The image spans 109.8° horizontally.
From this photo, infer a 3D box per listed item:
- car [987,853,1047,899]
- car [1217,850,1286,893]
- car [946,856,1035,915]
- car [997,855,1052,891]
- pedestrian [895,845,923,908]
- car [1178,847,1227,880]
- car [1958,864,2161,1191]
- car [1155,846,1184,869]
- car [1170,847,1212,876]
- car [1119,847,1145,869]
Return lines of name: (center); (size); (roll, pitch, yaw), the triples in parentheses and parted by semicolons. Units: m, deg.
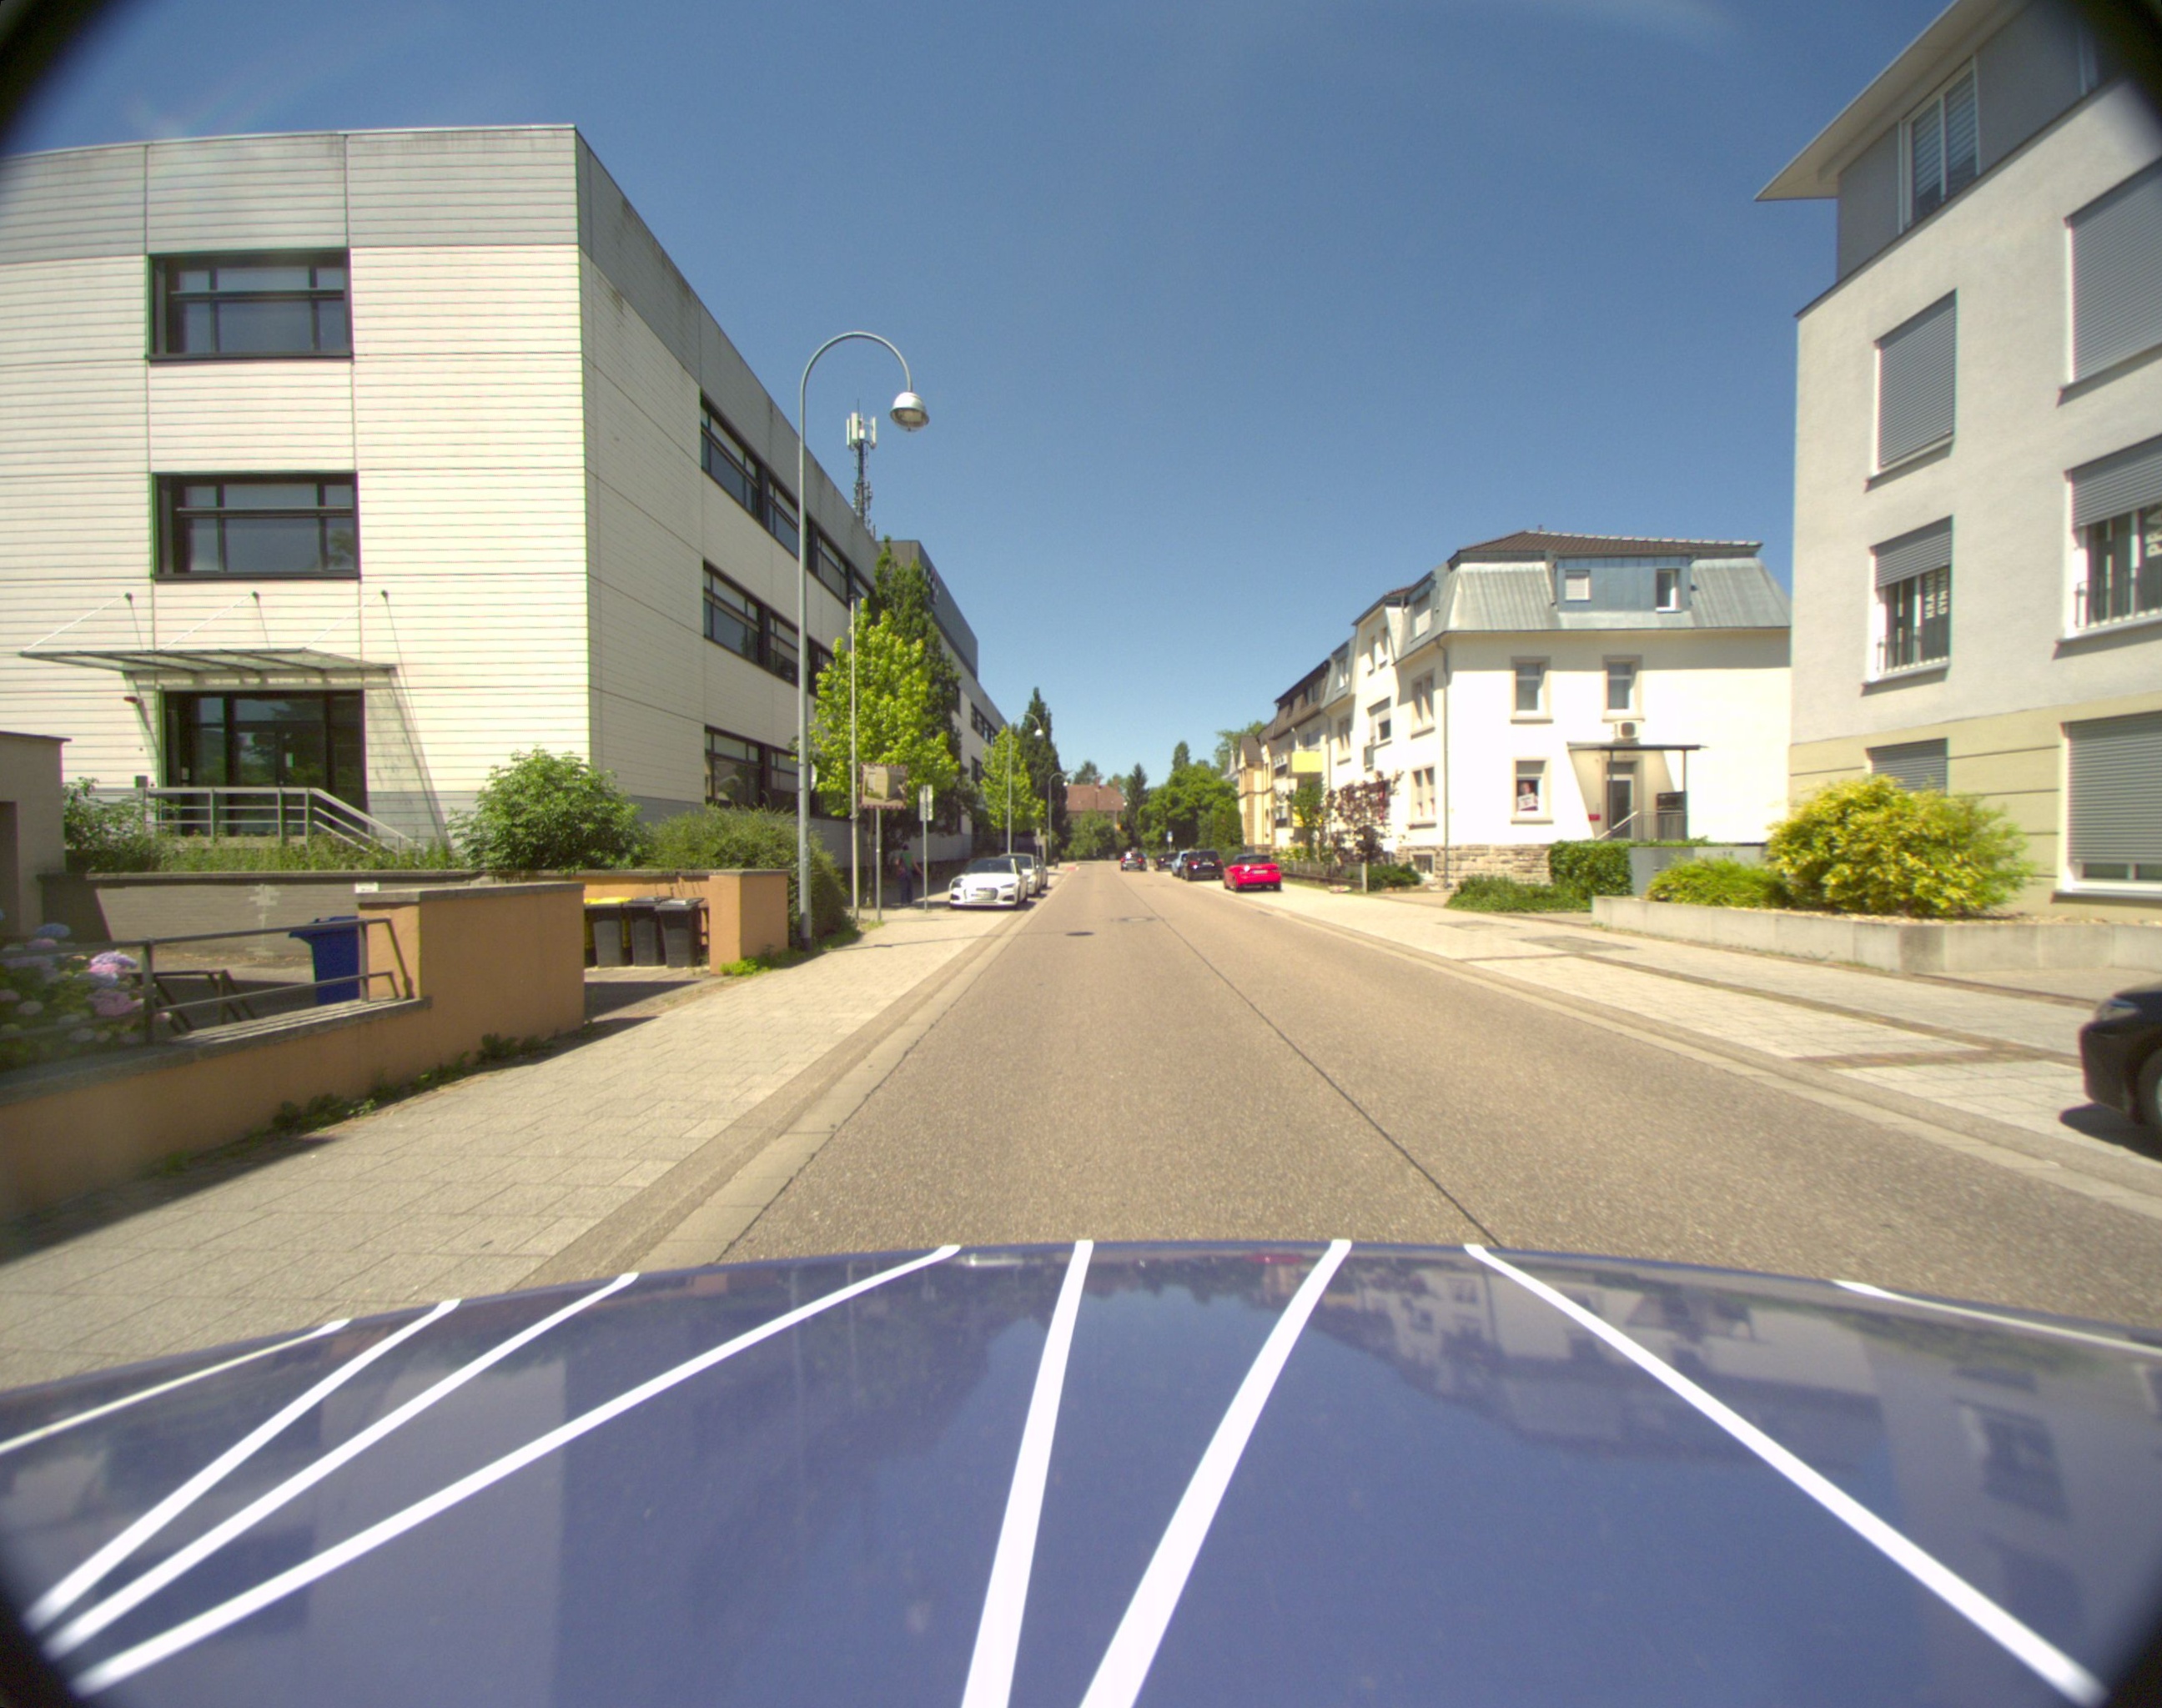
car: (-2.206, 0.741, 27.136); (1.714, 1.490, 3.877); (0, 1, 1)
car: (6.482, 0.617, 29.257); (1.737, 1.444, 4.260); (-3, 1, 2)
car: (-2.482, 0.819, 21.932); (1.920, 1.460, 4.880); (0, 1, 1)
car: (-2.324, 0.754, 32.180); (1.841, 1.357, 4.000); (0, 1, 3)
pedestrian: (-4.820, 0.607, 21.265); (0.681, 1.690, 1.048); (1, 1, -15)
car: (6.436, 0.460, 40.554); (1.925, 1.577, 4.435); (-3, 1, 2)
car: (5.914, 0.813, 1.735); (1.921, 1.444, 5.149); (-3, 1, 2)
car: (6.991, 0.265, 60.454); (1.925, 1.681, 4.287); (-3, 1, 3)
car: (6.613, 0.390, 46.068); (1.925, 1.577, 4.287); (-3, 1, 2)
car: (4.195, 0.307, 62.945); (1.925, 1.668, 4.287); (0, 1, 1)
